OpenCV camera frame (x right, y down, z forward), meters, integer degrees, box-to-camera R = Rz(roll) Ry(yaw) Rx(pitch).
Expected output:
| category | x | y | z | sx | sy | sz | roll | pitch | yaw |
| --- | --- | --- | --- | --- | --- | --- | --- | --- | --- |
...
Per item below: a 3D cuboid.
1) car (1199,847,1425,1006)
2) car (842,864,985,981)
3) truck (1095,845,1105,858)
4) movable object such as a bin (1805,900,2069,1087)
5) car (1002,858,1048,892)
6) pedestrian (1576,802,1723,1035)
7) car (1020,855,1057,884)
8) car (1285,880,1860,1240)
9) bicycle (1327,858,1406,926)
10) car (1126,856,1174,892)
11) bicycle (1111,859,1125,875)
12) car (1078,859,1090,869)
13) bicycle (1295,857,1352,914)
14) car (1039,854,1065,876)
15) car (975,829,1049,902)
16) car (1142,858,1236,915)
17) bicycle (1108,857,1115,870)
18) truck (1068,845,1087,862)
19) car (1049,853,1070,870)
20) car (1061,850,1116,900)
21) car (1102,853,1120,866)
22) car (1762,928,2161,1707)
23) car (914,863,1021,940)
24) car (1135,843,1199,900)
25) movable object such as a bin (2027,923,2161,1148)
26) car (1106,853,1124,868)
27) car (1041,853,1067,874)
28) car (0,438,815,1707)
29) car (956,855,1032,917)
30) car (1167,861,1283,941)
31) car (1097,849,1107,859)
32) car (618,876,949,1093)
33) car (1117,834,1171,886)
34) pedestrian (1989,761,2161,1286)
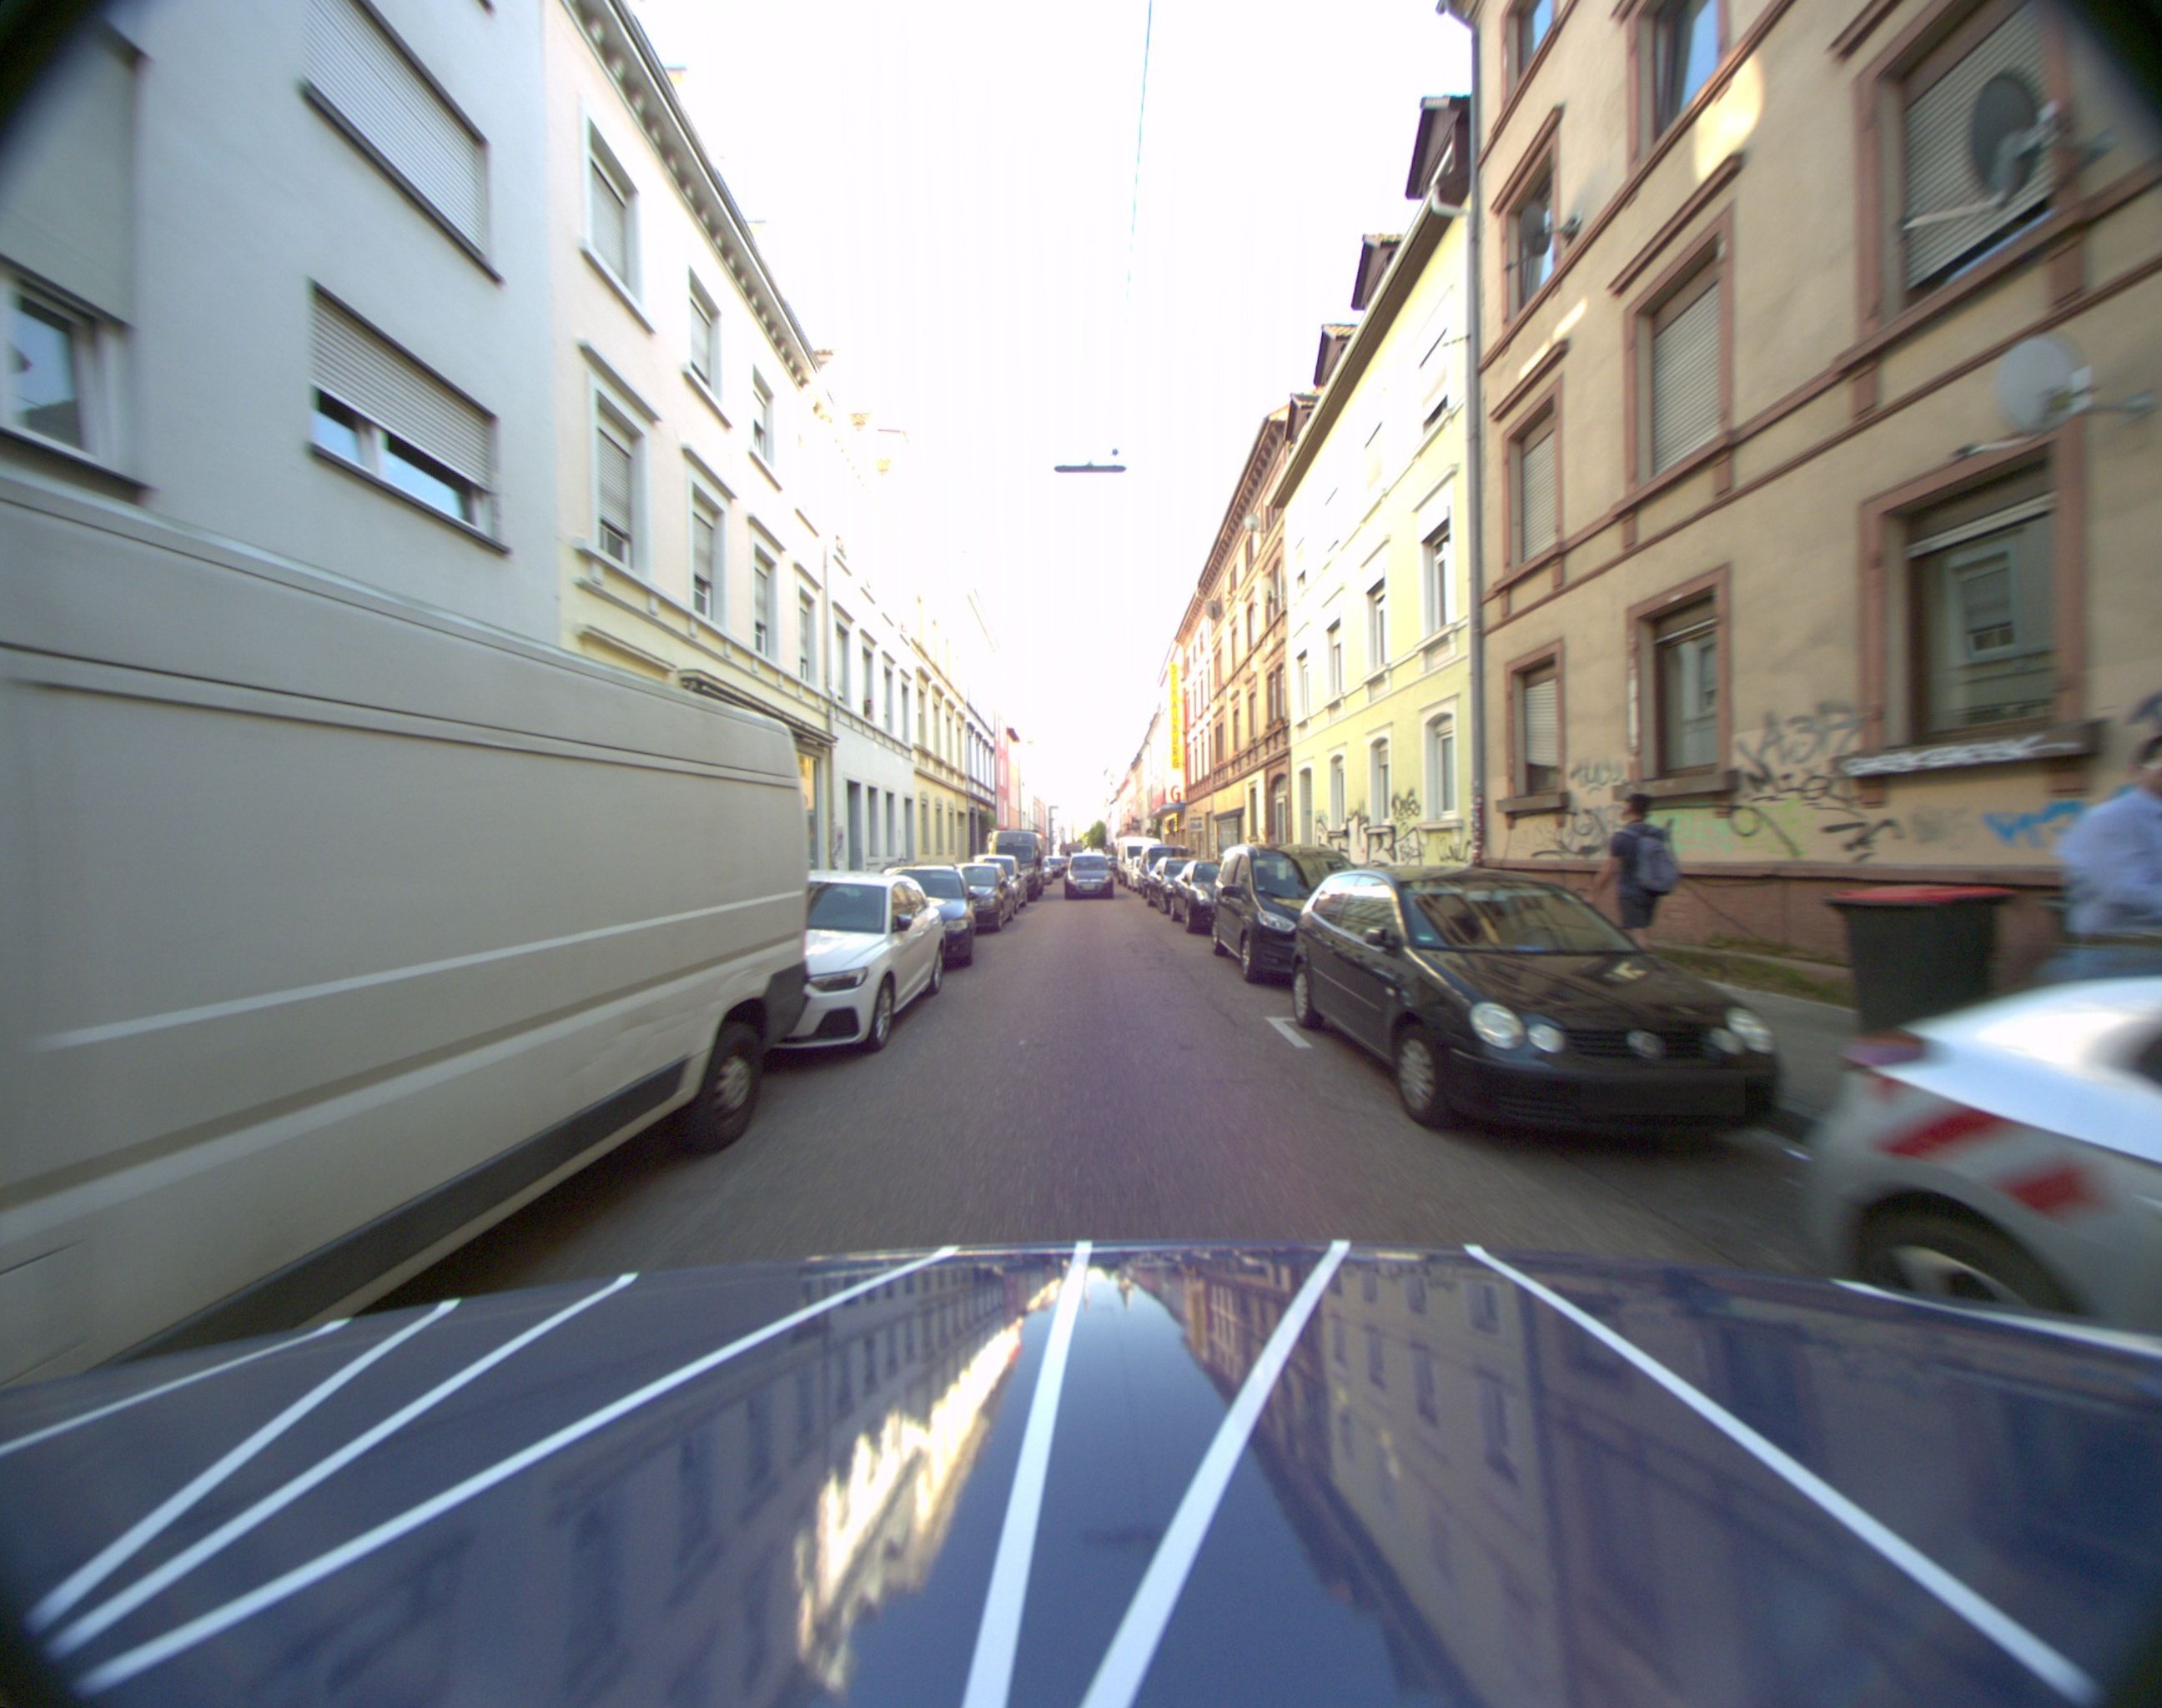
| category | x | y | z | sx | sy | sz | roll | pitch | yaw |
| --- | --- | --- | --- | --- | --- | --- | --- | --- | --- |
| car | 2.828 | 0.781 | 10.296 | 1.805 | 1.688 | 3.999 | 2 | 0 | 0 |
| car | -2.581 | 0.958 | 12.433 | 1.817 | 1.469 | 4.604 | 2 | -1 | -9 |
| truck | 4.674 | -0.655 | 187.938 | 2.524 | 3.271 | 6.642 | -1 | 0 | 1 |
| movable object such as a bin | 5.528 | 0.866 | 4.965 | 0.791 | 1.019 | 0.757 | -5 | 0 | 3 |
| car | -2.527 | 0.926 | 35.291 | 1.752 | 1.436 | 4.172 | -1 | 0 | 1 |
| pedestrian | 4.813 | 0.516 | 6.479 | 0.612 | 1.847 | 0.754 | -3 | 1 | 0 |
| car | -2.382 | 0.846 | 43.623 | 1.791 | 1.446 | 4.546 | 2 | 0 | 0 |
| car | 2.631 | 0.969 | 5.147 | 1.596 | 1.432 | 3.654 | 0 | 0 | 1 |
| bicycle | 5.829 | 0.737 | 15.668 | 0.669 | 1.238 | 2.327 | -4 | 0 | 0 |
| car | 2.940 | 0.820 | 32.920 | 1.649 | 1.438 | 3.839 | 0 | 0 | -1 |
| bicycle | 2.588 | 0.913 | 53.409 | 0.462 | 1.041 | 1.748 | -3 | 0 | -15 |
| car | 0.470 | 1.491 | 114.654 | 1.644 | 1.528 | 3.842 | -1 | 0 | 0 |
| bicycle | 5.701 | 0.705 | 17.998 | 0.675 | 1.264 | 2.086 | -1 | 0 | 0 |
| car | -2.117 | 0.784 | 55.820 | 1.606 | 1.530 | 3.450 | 2 | 0 | 2 |
| car | -2.434 | 0.379 | 28.662 | 2.180 | 2.411 | 6.308 | 1 | 0 | 0 |
| car | 2.914 | 0.839 | 21.488 | 1.867 | 1.431 | 4.644 | 0 | 0 | -1 |
| bicycle | 2.620 | 0.844 | 65.550 | 0.500 | 1.099 | 1.829 | -2 | 0 | 0 |
| truck | -0.550 | -0.090 | 125.779 | 2.819 | 2.735 | 7.677 | -3 | 0 | 0 |
| car | -1.964 | 0.678 | 70.991 | 1.701 | 1.514 | 3.980 | 0 | 0 | 2 |
| car | 0.276 | 0.699 | 27.671 | 1.832 | 1.650 | 4.213 | 0 | 0 | 1 |
| car | 3.396 | 0.580 | 86.923 | 1.792 | 1.454 | 4.199 | 0 | 0 | -1 |
| car | 2.777 | 0.936 | 0.288 | 1.677 | 1.422 | 3.889 | 0 | 0 | 3 |
| car | -2.441 | 0.975 | 17.321 | 1.750 | 1.477 | 4.242 | 0 | 0 | 0 |
| car | 3.088 | 0.596 | 28.043 | 1.832 | 1.881 | 4.613 | 2 | 0 | 1 |
| movable object such as a bin | 5.542 | 0.908 | 3.930 | 0.733 | 1.019 | 0.590 | -2 | 1 | -19 |
| car | 3.458 | 0.607 | 76.415 | 1.684 | 1.446 | 4.034 | 0 | 0 | 4 |
| car | -2.105 | 0.729 | 60.535 | 1.750 | 1.547 | 4.171 | -1 | 0 | 2 |
| car | -2.979 | 0.543 | 2.180 | 2.210 | 2.536 | 6.036 | 0 | 0 | 1 |
| car | -2.454 | 0.853 | 22.342 | 1.698 | 1.598 | 4.374 | 1 | 0 | 0 |
| car | 2.912 | 0.889 | 16.119 | 1.741 | 1.418 | 4.000 | 0 | 0 | 1 |
| car | 4.390 | 0.049 | 159.298 | 1.998 | 2.002 | 4.258 | 0 | 0 | 1 |
| car | -2.466 | 0.996 | 7.379 | 1.729 | 1.421 | 3.832 | 0 | 0 | -1 |
| car | 3.095 | 0.276 | 38.817 | 2.174 | 2.438 | 5.920 | 1 | 0 | -1 |
| pedestrian | 4.013 | 0.571 | 2.684 | 0.652 | 1.807 | 0.754 | -3 | 1 | 1 |
